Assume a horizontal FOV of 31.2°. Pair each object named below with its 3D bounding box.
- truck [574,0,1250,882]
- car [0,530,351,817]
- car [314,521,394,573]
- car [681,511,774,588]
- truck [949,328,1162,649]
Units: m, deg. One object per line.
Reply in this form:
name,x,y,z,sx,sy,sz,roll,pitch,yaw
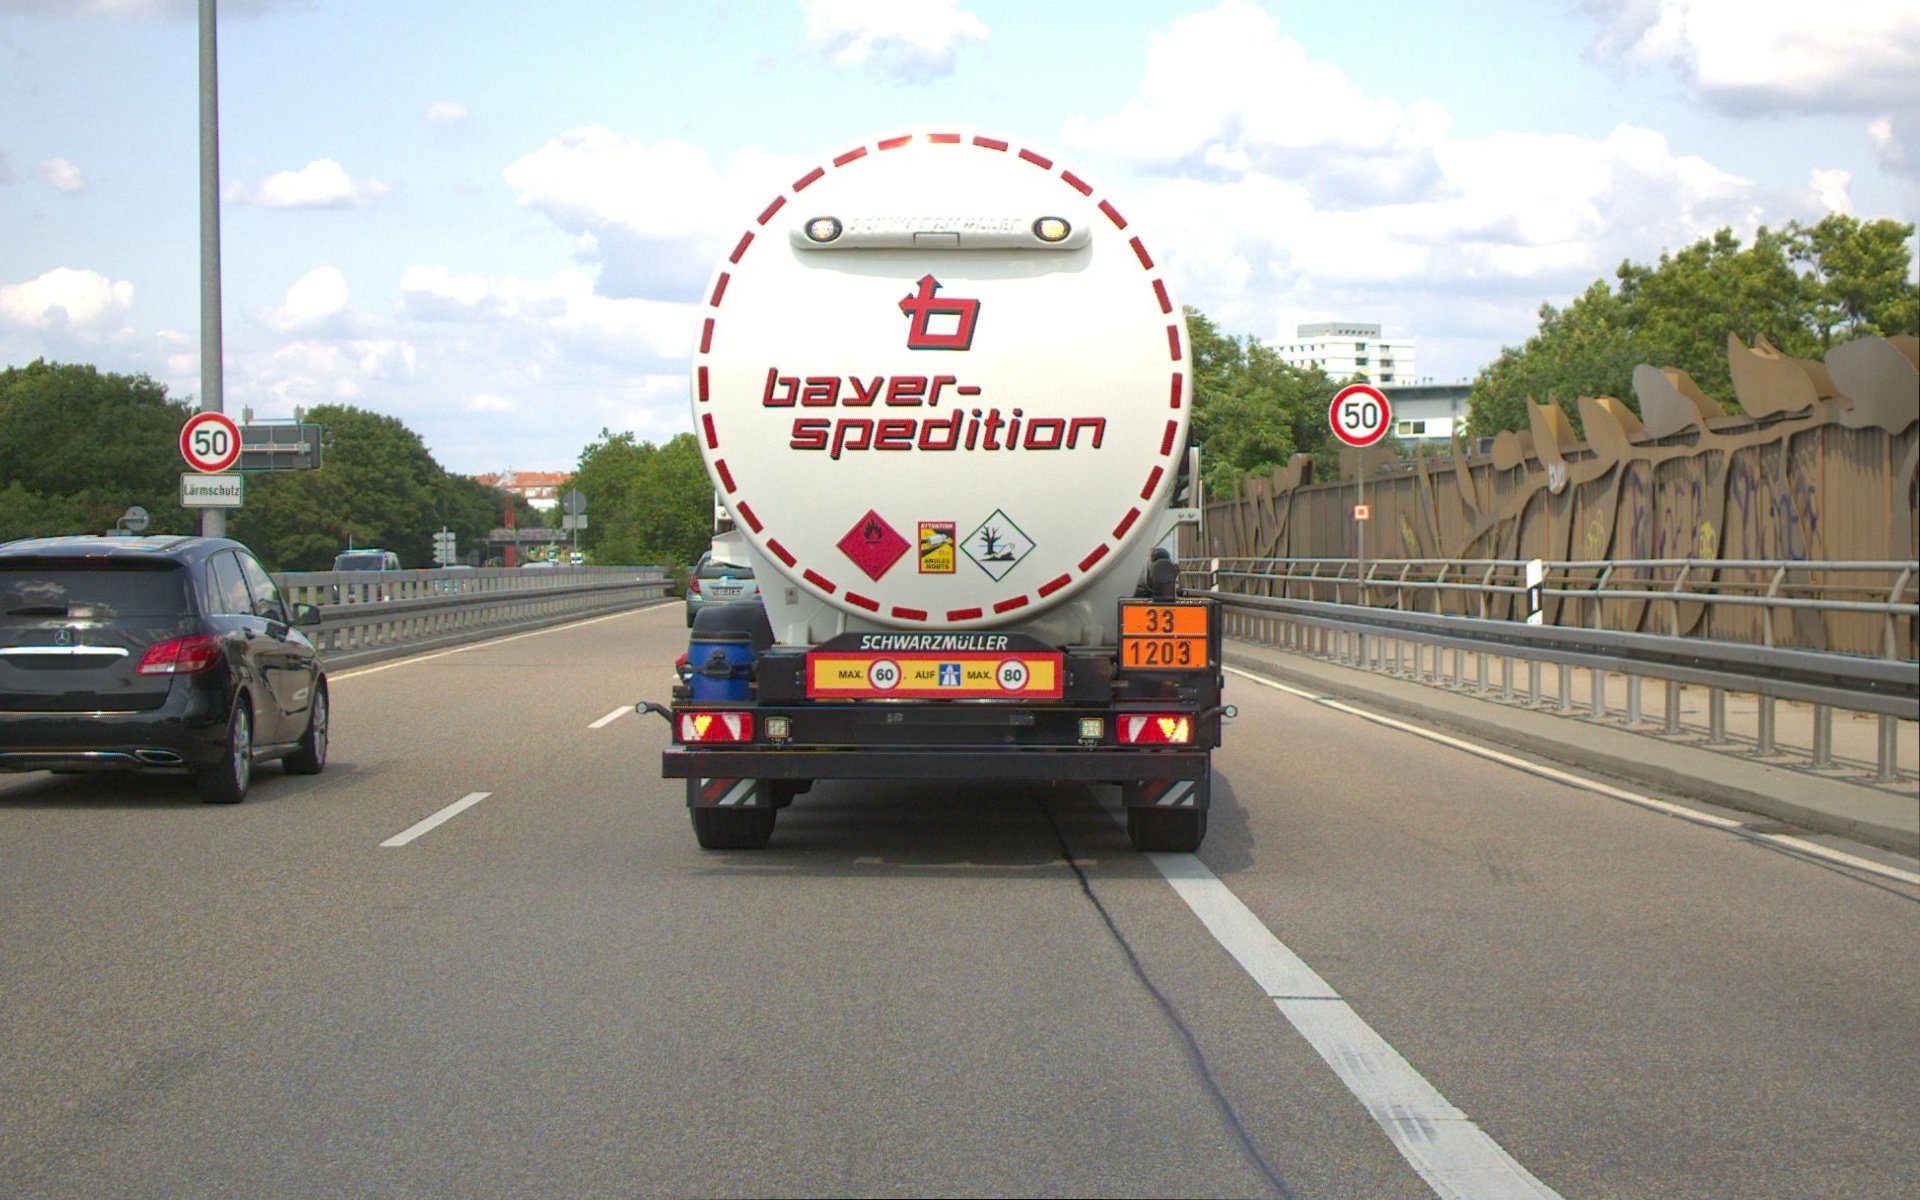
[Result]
truck,-0.194,-1.047,19.063,2.895,4.353,8.030,1,1,0
car,-4.937,0.353,20.934,1.711,1.522,4.593,1,1,-1
car,-19.551,-1.723,110.987,1.993,1.634,4.001,1,1,-2
car,-4.752,-1.063,70.756,1.747,1.526,4.001,0,2,-2
truck,1.421,-1.764,55.877,2.895,4.791,8.030,1,1,-2
